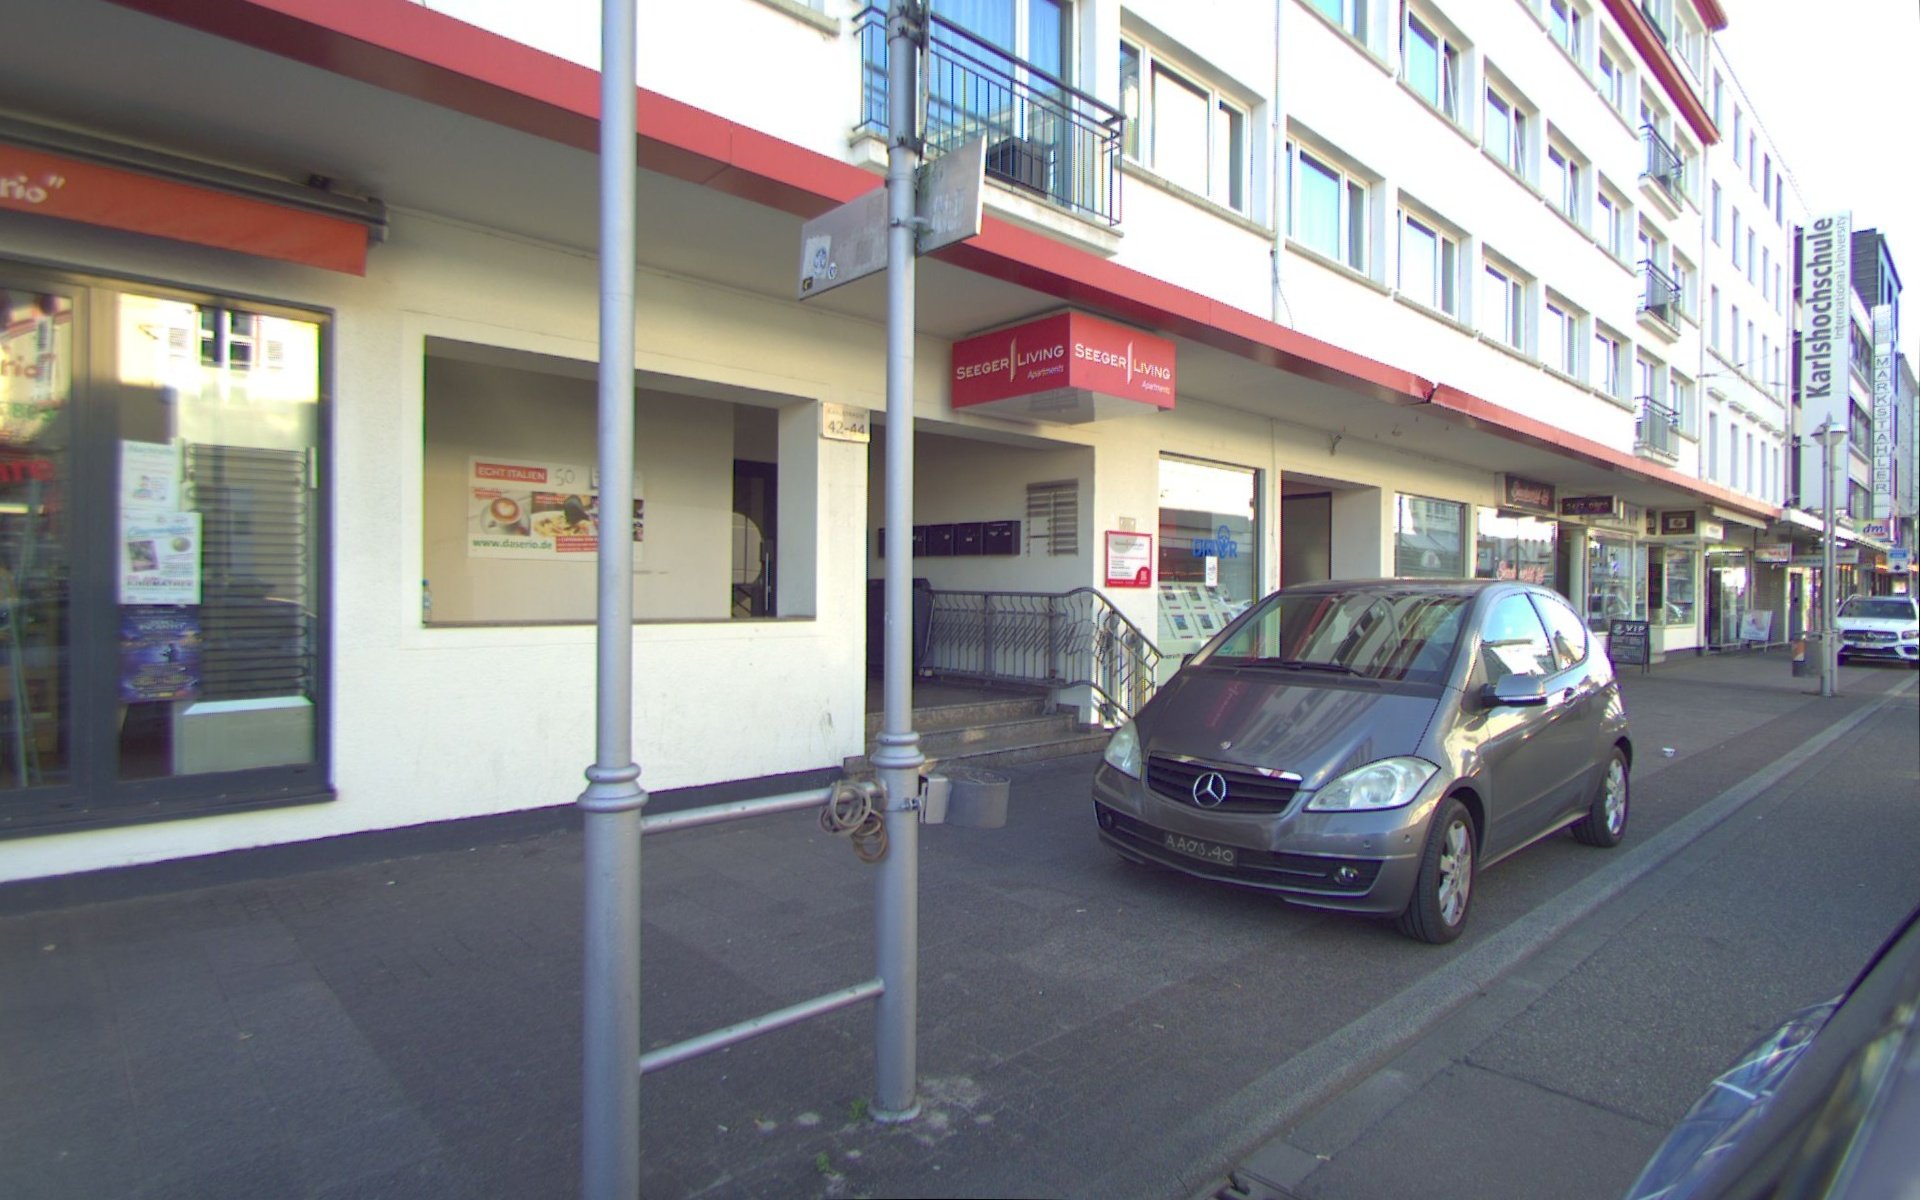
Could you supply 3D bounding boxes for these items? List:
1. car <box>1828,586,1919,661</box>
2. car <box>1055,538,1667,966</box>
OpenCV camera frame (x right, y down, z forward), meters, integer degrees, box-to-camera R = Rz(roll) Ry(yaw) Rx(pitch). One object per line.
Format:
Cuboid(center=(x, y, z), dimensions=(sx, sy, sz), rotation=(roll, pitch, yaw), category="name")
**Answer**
Cuboid(center=(22.385, 0.519, 24.343), dimensions=(1.994, 1.650, 3.935), rotation=(1, 1, 45), category="car")
Cuboid(center=(2.467, 0.557, 5.676), dimensions=(3.932, 1.565, 1.681), rotation=(0, 0, -43), category="car")
